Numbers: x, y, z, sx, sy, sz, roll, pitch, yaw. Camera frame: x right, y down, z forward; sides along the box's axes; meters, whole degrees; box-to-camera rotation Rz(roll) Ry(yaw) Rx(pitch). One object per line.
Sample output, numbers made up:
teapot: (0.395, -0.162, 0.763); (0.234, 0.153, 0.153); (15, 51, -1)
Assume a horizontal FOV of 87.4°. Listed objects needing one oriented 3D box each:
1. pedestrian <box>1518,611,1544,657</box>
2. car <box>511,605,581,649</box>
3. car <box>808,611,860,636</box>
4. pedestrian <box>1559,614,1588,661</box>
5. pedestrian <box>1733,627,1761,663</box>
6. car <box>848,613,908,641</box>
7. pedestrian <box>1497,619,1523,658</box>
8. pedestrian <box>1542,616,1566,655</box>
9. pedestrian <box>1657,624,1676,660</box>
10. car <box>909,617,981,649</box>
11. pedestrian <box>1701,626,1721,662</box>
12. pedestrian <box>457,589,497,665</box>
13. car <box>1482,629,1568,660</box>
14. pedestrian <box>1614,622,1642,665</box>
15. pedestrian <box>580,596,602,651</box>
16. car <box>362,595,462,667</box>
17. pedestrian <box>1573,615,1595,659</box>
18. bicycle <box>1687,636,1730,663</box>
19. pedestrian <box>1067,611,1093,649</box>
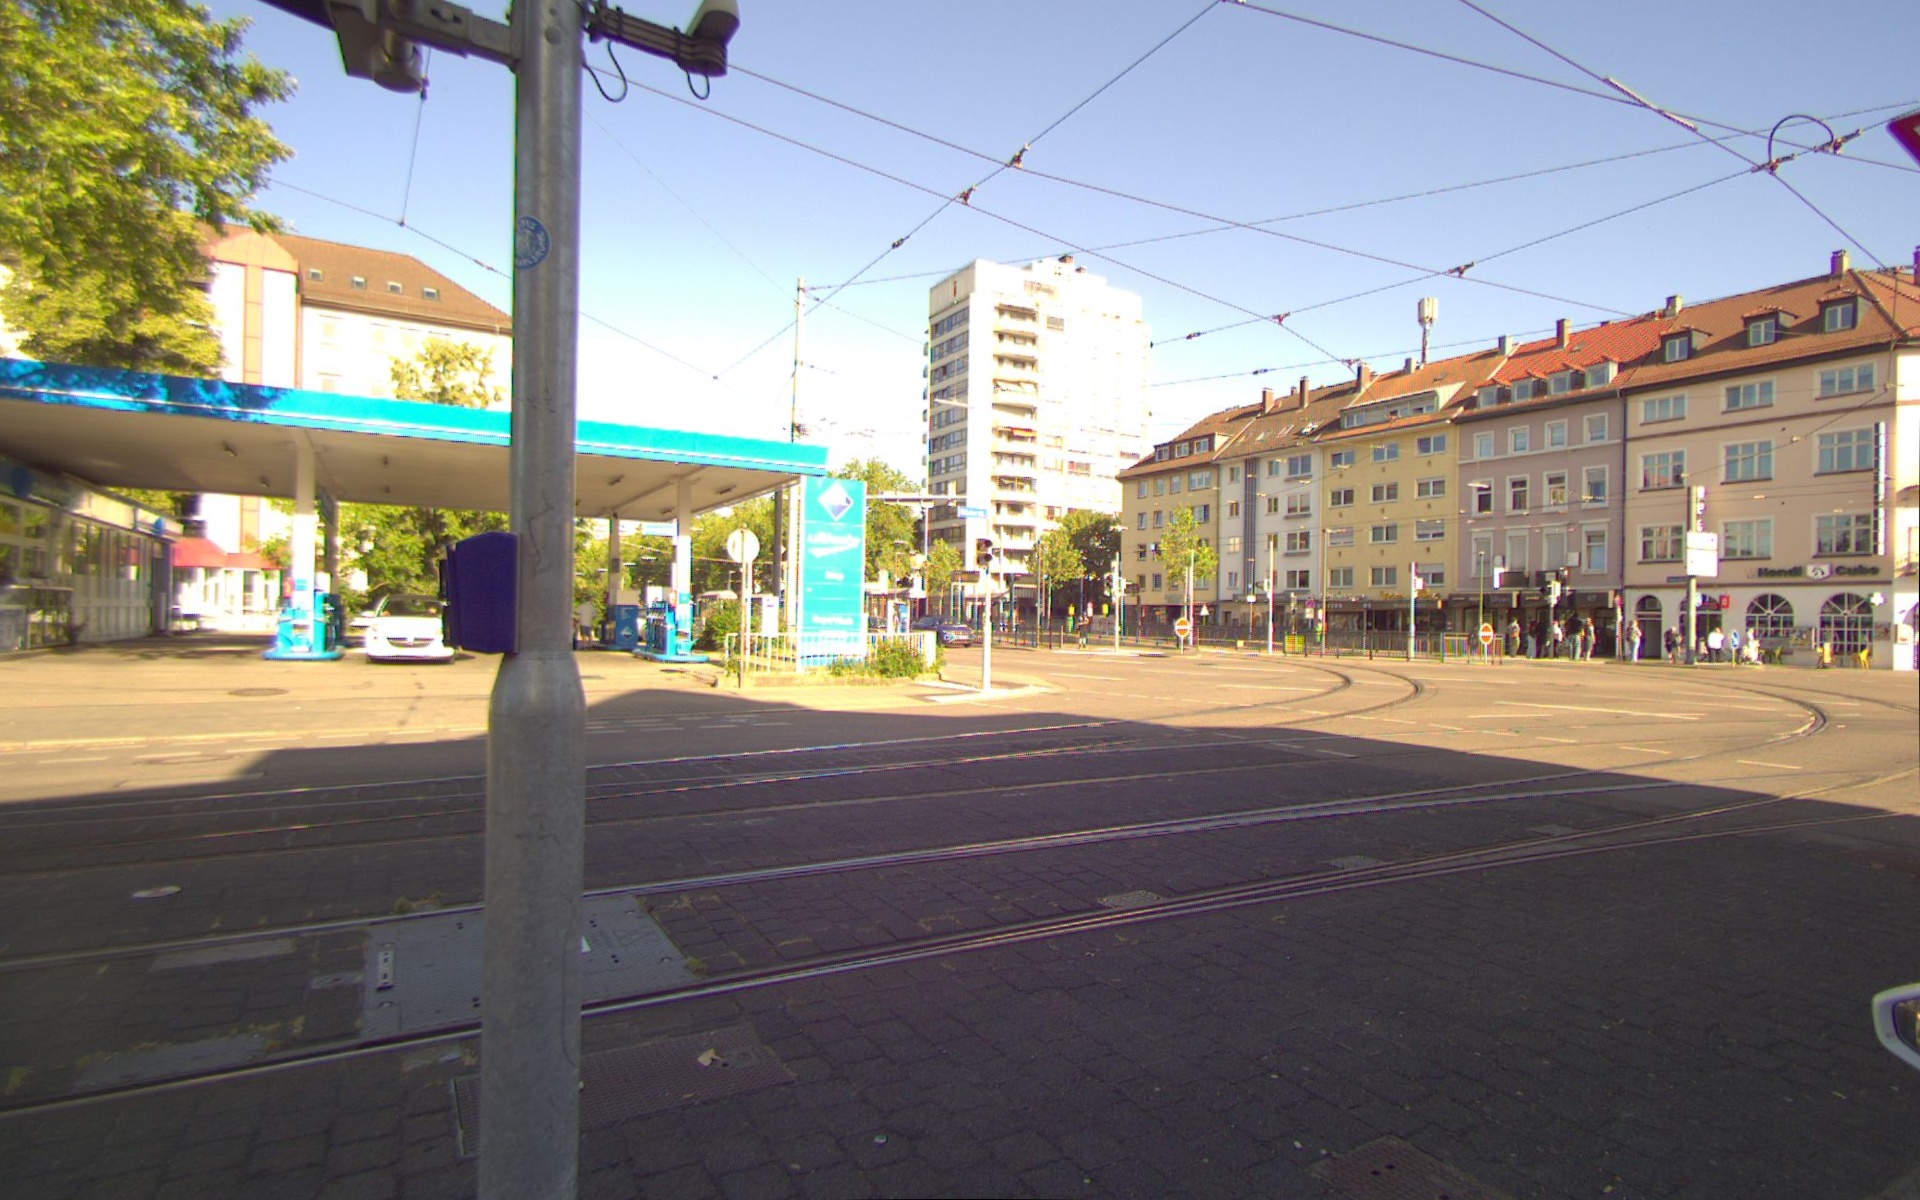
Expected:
pedestrian: (23.723, 1.416, 41.746); (0.769, 1.874, 0.625); (1, -1, -30)
car: (-13.582, 0.853, 32.876); (1.697, 1.360, 3.970); (1, -1, -28)
car: (-7.616, 1.396, 60.313); (1.697, 1.439, 4.149); (1, -1, -28)
pedestrian: (24.768, 1.513, 40.570); (0.714, 1.853, 0.763); (1, -1, -30)
pedestrian: (37.256, 2.123, 47.548); (0.736, 1.704, 0.902); (1, -1, -35)
car: (-4.489, 1.444, 54.302); (1.697, 1.439, 4.149); (1, -1, -28)
pedestrian: (24.178, 1.681, 44.146); (0.621, 1.704, 0.763); (1, -1, -30)
pedestrian: (25.031, 1.495, 42.337); (0.554, 1.602, 0.694); (1, -1, -35)
pedestrian: (33.899, 2.026, 48.171); (0.731, 1.704, 0.626); (0, -1, 35)
car: (-0.777, 1.531, 47.866); (1.697, 1.439, 4.149); (1, -1, -28)
pedestrian: (35.968, 2.087, 48.129); (0.731, 1.704, 0.626); (0, -1, 35)
pedestrian: (-11.191, 0.620, 23.276); (0.753, 1.715, 0.581); (1, -1, -34)
car: (30.741, 2.401, 54.771); (1.795, 1.511, 3.715); (2, 0, -27)
pedestrian: (26.508, 1.719, 39.878); (0.621, 1.704, 0.737); (1, -1, -30)
pedestrian: (-11.701, 0.745, 31.866); (0.579, 1.715, 0.756); (1, -1, -25)
car: (-12.362, 0.667, 22.555); (1.793, 1.461, 3.966); (1, -1, -31)
pedestrian: (25.553, 1.506, 41.133); (0.554, 1.810, 0.556); (1, -1, -35)
bicycle: (37.640, 2.474, 50.536); (1.693, 1.293, 0.385); (0, -1, 44)
pedestrian: (5.253, 1.303, 43.962); (0.788, 1.632, 0.766); (1, -1, -36)
